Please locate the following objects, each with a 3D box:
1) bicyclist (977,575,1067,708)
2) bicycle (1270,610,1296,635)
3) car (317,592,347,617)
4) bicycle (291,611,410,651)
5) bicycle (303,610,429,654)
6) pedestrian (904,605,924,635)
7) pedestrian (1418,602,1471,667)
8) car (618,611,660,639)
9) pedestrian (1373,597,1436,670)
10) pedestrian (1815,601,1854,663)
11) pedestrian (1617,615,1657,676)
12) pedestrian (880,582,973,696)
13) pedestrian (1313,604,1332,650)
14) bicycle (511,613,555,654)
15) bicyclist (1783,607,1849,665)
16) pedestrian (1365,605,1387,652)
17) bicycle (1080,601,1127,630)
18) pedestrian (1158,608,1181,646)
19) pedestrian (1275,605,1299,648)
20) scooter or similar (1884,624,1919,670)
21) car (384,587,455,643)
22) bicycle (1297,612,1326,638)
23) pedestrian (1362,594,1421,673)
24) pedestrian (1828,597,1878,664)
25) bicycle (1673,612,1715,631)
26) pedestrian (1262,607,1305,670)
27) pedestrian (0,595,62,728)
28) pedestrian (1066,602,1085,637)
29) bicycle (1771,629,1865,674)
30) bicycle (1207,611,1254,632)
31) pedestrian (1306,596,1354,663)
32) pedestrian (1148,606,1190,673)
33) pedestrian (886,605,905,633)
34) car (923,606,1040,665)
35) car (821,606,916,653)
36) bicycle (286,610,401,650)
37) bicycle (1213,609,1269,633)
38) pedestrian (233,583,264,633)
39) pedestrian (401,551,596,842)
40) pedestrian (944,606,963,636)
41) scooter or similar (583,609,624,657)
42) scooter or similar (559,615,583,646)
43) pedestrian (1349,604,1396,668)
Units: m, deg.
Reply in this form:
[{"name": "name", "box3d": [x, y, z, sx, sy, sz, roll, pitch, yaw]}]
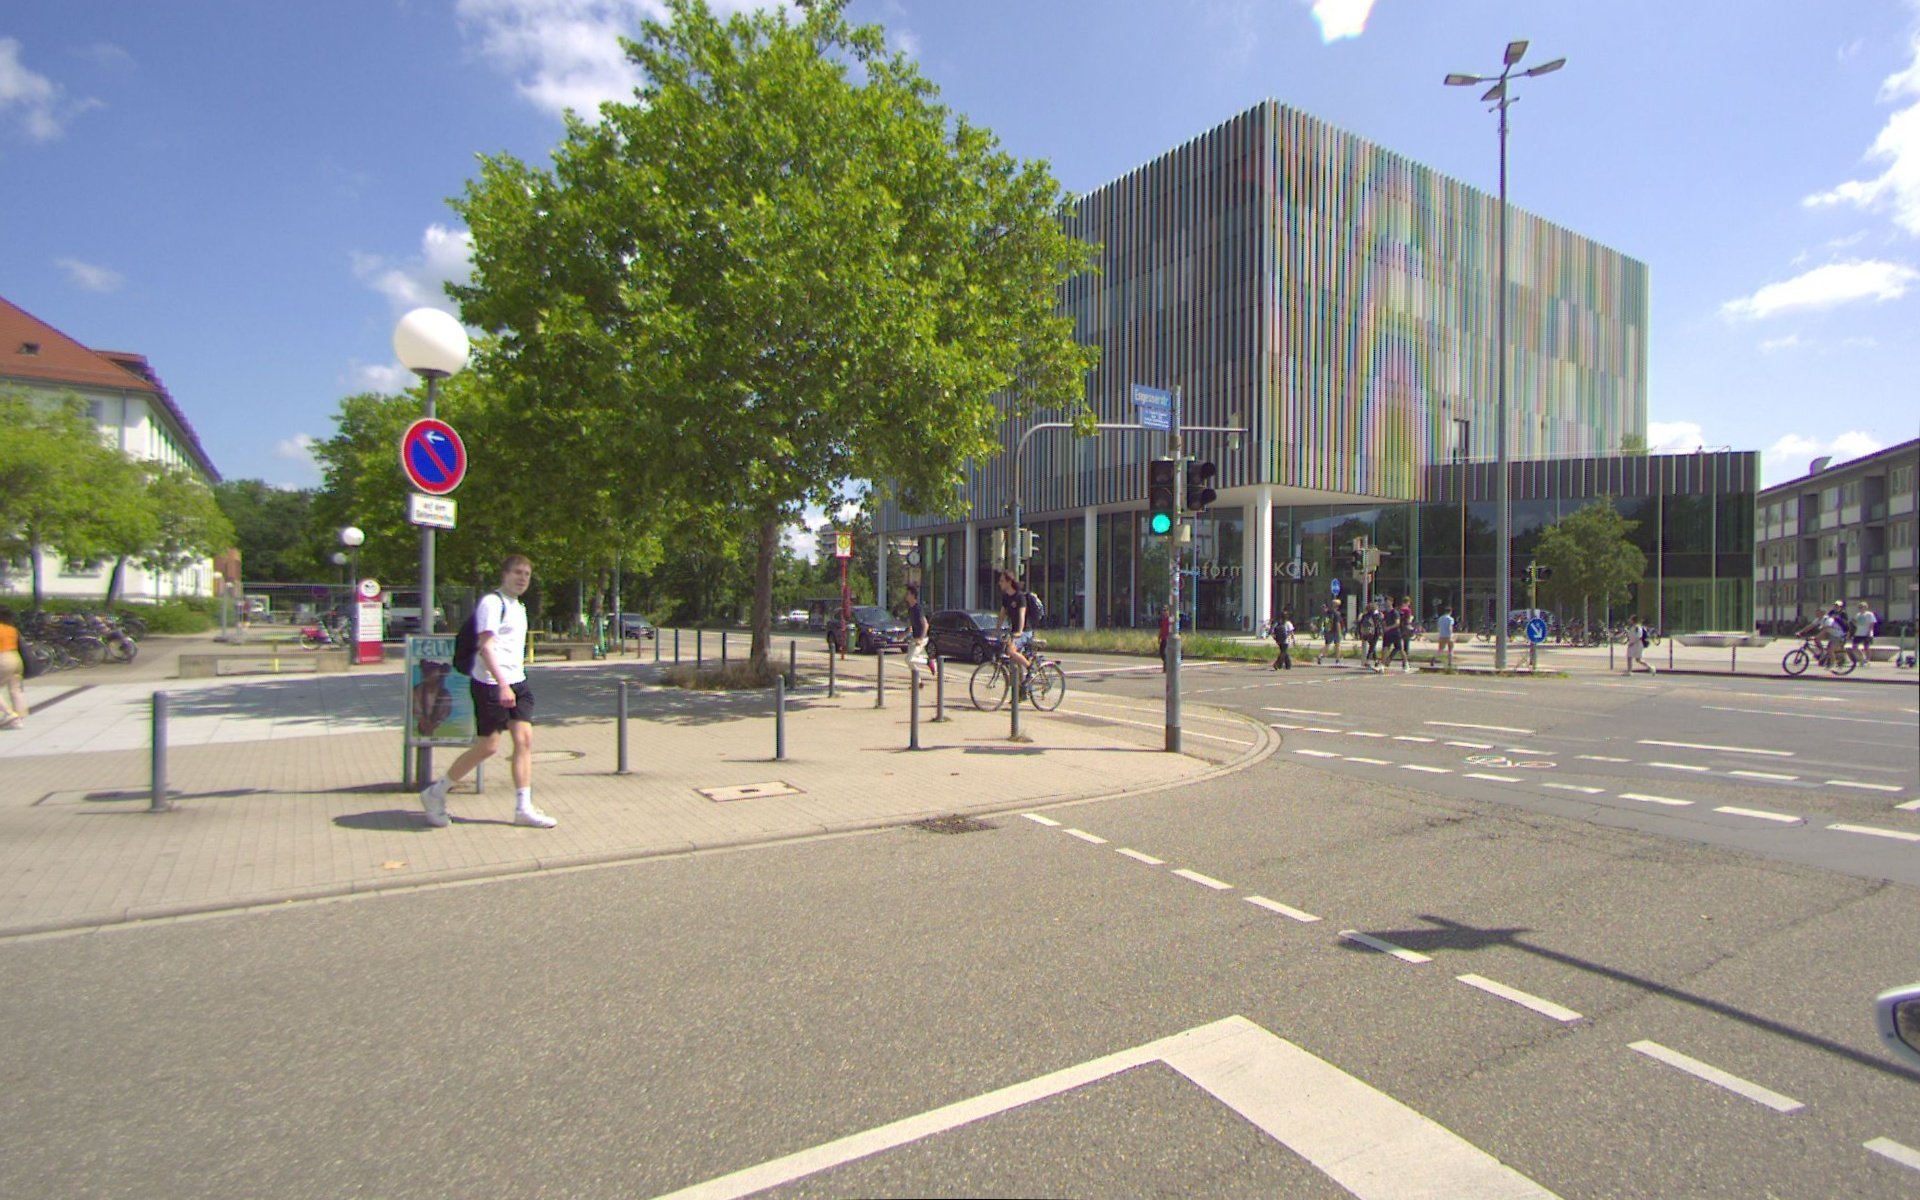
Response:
[{"name": "bicyclist", "box3d": [0.892, 0.604, 14.595, 0.985, 1.841, 0.787, 4, -2, -23]}, {"name": "bicycle", "box3d": [16.928, 1.161, 52.581, 1.177, 1.254, 2.951, 1, 0, 19]}, {"name": "car", "box3d": [-50.053, 0.363, 80.008, 1.847, 1.965, 4.357, 1, -1, -35]}, {"name": "bicycle", "box3d": [-18.374, 0.923, 30.336, 2.928, 1.152, 0.989, 1, 0, -41]}, {"name": "bicycle", "box3d": [-16.786, 0.901, 28.450, 2.928, 1.163, 0.989, 1, 0, -41]}, {"name": "pedestrian", "box3d": [-3.412, 1.488, 74.782, 1.116, 2.205, 0.967, 1, 0, -34]}, {"name": "pedestrian", "box3d": [13.951, 0.981, 28.940, 1.076, 1.843, 0.862, 0, -1, -10]}, {"name": "car", "box3d": [-17.957, 1.376, 56.129, 1.619, 1.506, 3.973, 1, -1, -27]}, {"name": "pedestrian", "box3d": [11.447, 0.850, 25.894, 1.245, 1.831, 0.807, 0, -1, -12]}, {"name": "pedestrian", "box3d": [26.369, 0.952, 30.295, 0.658, 1.839, 0.815, 0, 0, 23]}, {"name": "pedestrian", "box3d": [17.417, 1.153, 25.843, 0.814, 1.544, 0.812, 0, -1, 37]}, {"name": "pedestrian", "box3d": [-0.583, 0.689, 17.604, 1.380, 1.879, 0.700, 4, -2, -24]}, {"name": "pedestrian", "box3d": [20.713, 1.537, 57.382, 0.956, 2.599, 1.014, 1, 0, 20]}, {"name": "bicycle", "box3d": [-12.598, 0.963, 29.604, 0.658, 1.128, 2.591, 1, 0, -35]}, {"name": "bicyclist", "box3d": [22.522, 0.937, 26.434, 1.049, 1.487, 0.850, 0, -1, -11]}, {"name": "pedestrian", "box3d": [23.376, 1.569, 56.437, 0.956, 2.599, 1.015, 1, 0, 14]}, {"name": "bicycle", "box3d": [9.339, 1.000, 65.193, 2.910, 1.863, 1.012, 1, 0, -24]}, {"name": "pedestrian", "box3d": [13.459, 1.735, 64.552, 1.004, 2.377, 0.967, 1, 0, -34]}, {"name": "pedestrian", "box3d": [19.808, 1.596, 60.849, 1.004, 2.599, 0.967, 1, 0, -34]}, {"name": "scooter or similar", "box3d": [26.292, 1.277, 27.955, 0.708, 1.194, 2.712, 0, 0, 39]}, {"name": "car", "box3d": [-20.459, 0.575, 37.941, 1.847, 1.965, 4.729, 1, -1, -35]}, {"name": "bicycle", "box3d": [18.206, 1.287, 52.031, 1.351, 1.254, 2.951, 1, 0, 20]}, {"name": "pedestrian", "box3d": [10.626, 0.814, 24.783, 1.065, 1.895, 0.831, 0, -1, -10]}, {"name": "pedestrian", "box3d": [26.143, 0.877, 29.416, 0.851, 1.914, 0.912, 0, 0, 24]}, {"name": "bicycle", "box3d": [63.329, 1.853, 86.712, 2.910, 1.595, 1.118, 1, 0, -7]}, {"name": "pedestrian", "box3d": [8.518, 0.997, 26.455, 0.789, 1.619, 0.766, 1, -1, -32]}, {"name": "pedestrian", "box3d": [-12.265, 0.781, 13.054, 0.738, 1.673, 0.838, 1, 0, -32]}, {"name": "pedestrian", "box3d": [8.032, 1.367, 69.970, 0.881, 2.377, 0.967, 1, 0, -33]}, {"name": "bicycle", "box3d": [22.567, 1.344, 26.437, 1.960, 1.161, 0.848, 1, -1, -11]}, {"name": "bicycle", "box3d": [17.031, 1.329, 63.306, 1.007, 1.254, 2.898, 1, 0, -34]}, {"name": "pedestrian", "box3d": [10.581, 0.838, 28.737, 0.989, 1.901, 0.853, 0, -1, -14]}, {"name": "pedestrian", "box3d": [5.390, 1.003, 25.915, 0.747, 1.701, 0.750, 1, -1, -31]}, {"name": "pedestrian", "box3d": [-5.030, 1.474, 77.864, 1.116, 2.205, 0.967, 1, 0, -34]}, {"name": "car", "box3d": [0.597, 1.066, 31.709, 1.634, 1.683, 4.259, -1, 0, -32]}, {"name": "car", "box3d": [-3.571, 1.088, 38.362, 1.634, 1.683, 4.784, 1, -1, -32]}, {"name": "bicycle", "box3d": [-19.148, 0.919, 31.246, 2.929, 1.165, 0.989, 1, 0, -42]}, {"name": "bicycle", "box3d": [15.029, 1.116, 53.815, 1.008, 1.254, 2.920, 1, 0, -36]}, {"name": "pedestrian", "box3d": [-31.849, 0.364, 44.946, 1.032, 2.229, 1.146, 1, -1, -39]}, {"name": "pedestrian", "box3d": [-3.270, 0.620, 7.125, 1.069, 1.876, 0.721, 3, 2, 29]}, {"name": "pedestrian", "box3d": [-0.476, 1.557, 74.373, 1.004, 2.231, 0.967, 1, 0, -34]}, {"name": "scooter or similar", "box3d": [-9.250, 0.834, 26.029, 0.489, 1.212, 1.716, 1, -1, -37]}, {"name": "scooter or similar", "box3d": [-20.040, 1.533, 51.693, 0.724, 1.559, 2.630, 1, -1, -31]}, {"name": "pedestrian", "box3d": [10.979, 0.946, 26.731, 0.847, 1.676, 0.826, 0, -1, -13]}]
